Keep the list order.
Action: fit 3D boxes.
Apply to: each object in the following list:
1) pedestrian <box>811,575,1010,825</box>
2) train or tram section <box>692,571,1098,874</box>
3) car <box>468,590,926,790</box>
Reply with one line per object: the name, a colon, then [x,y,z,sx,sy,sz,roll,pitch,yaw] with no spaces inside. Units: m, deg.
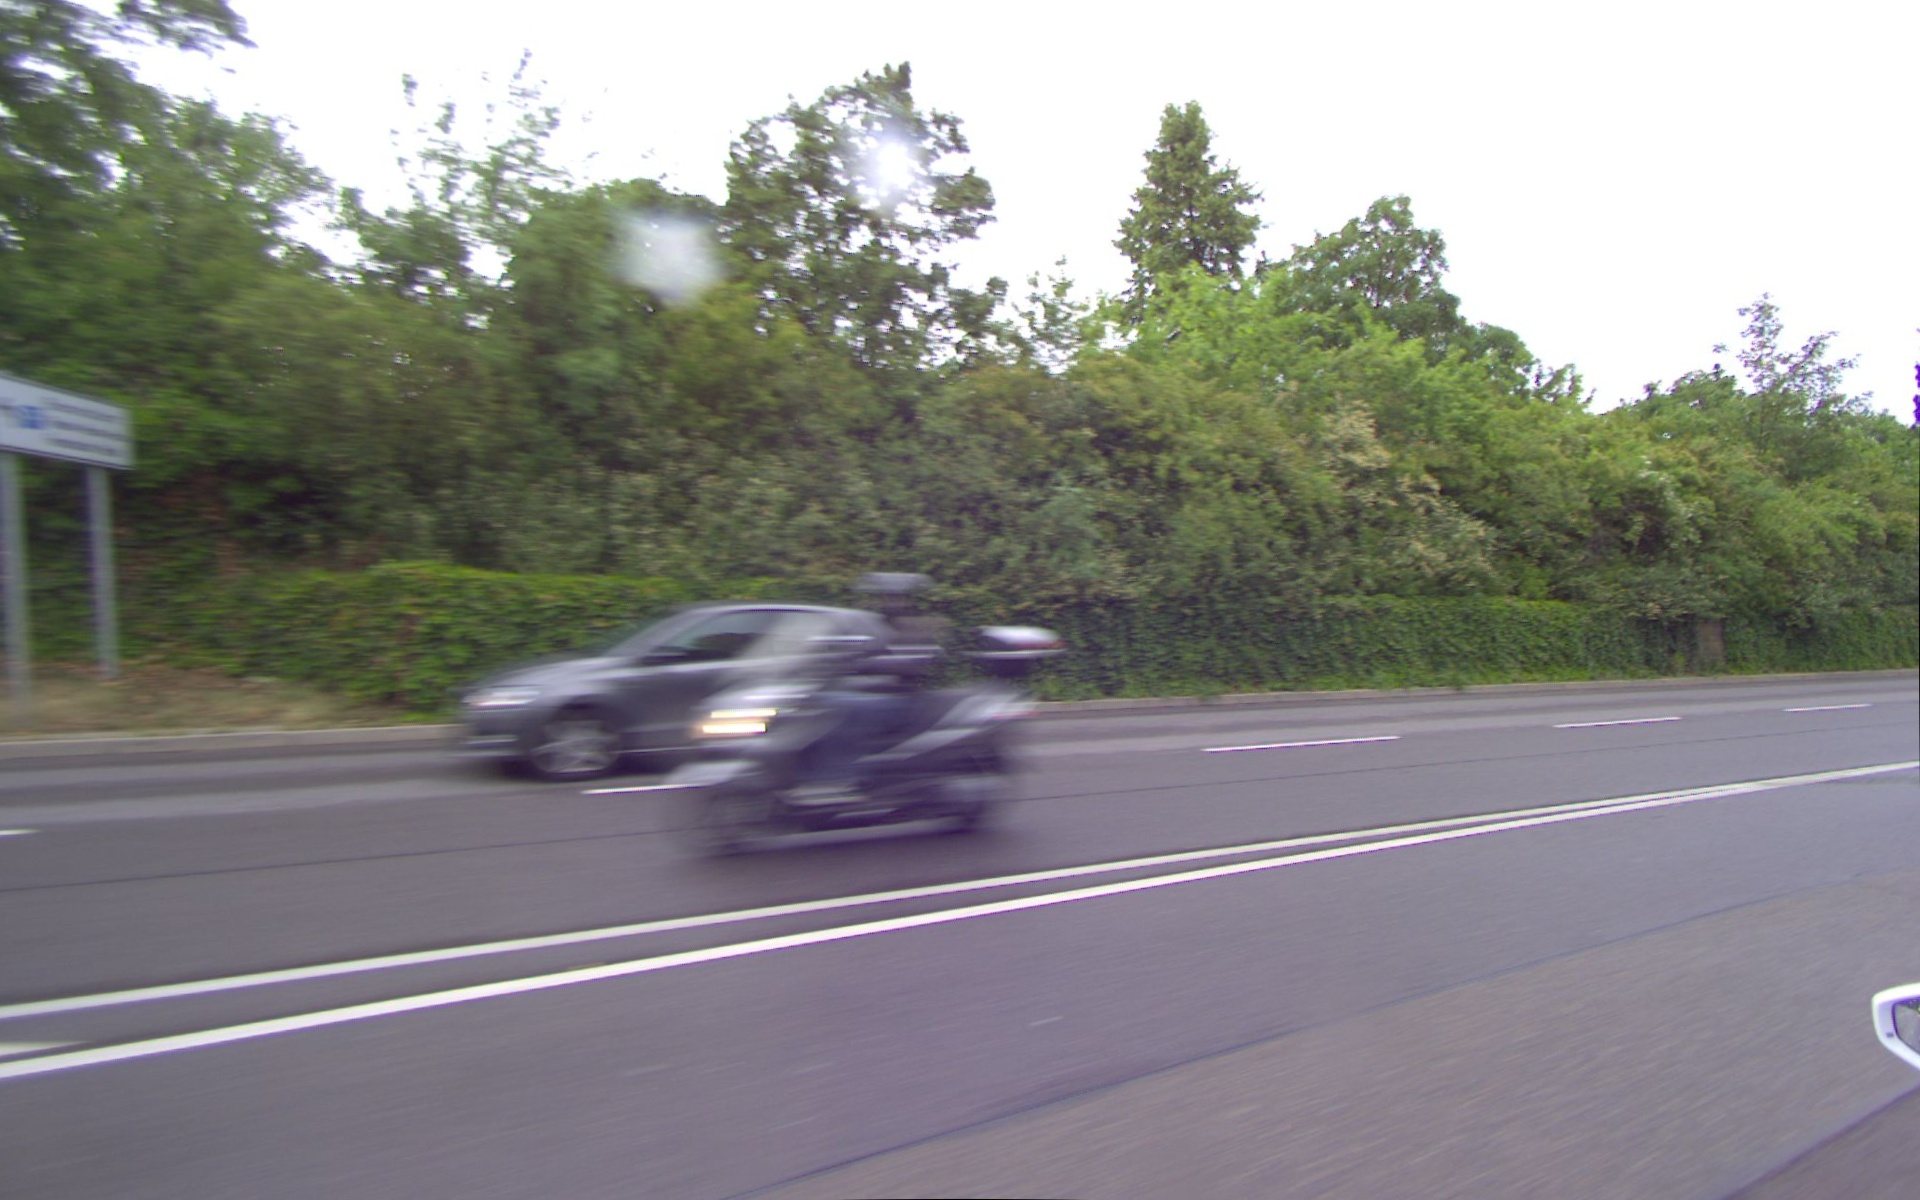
pedestrian: [-0.317,0.559,6.192,0.962,1.402,0.787,1,1,-29]
train or tram section: [-0.356,0.653,6.170,2.354,1.591,0.787,1,1,-29]
car: [-2.276,0.688,8.865,3.650,1.456,1.542,1,0,-29]
